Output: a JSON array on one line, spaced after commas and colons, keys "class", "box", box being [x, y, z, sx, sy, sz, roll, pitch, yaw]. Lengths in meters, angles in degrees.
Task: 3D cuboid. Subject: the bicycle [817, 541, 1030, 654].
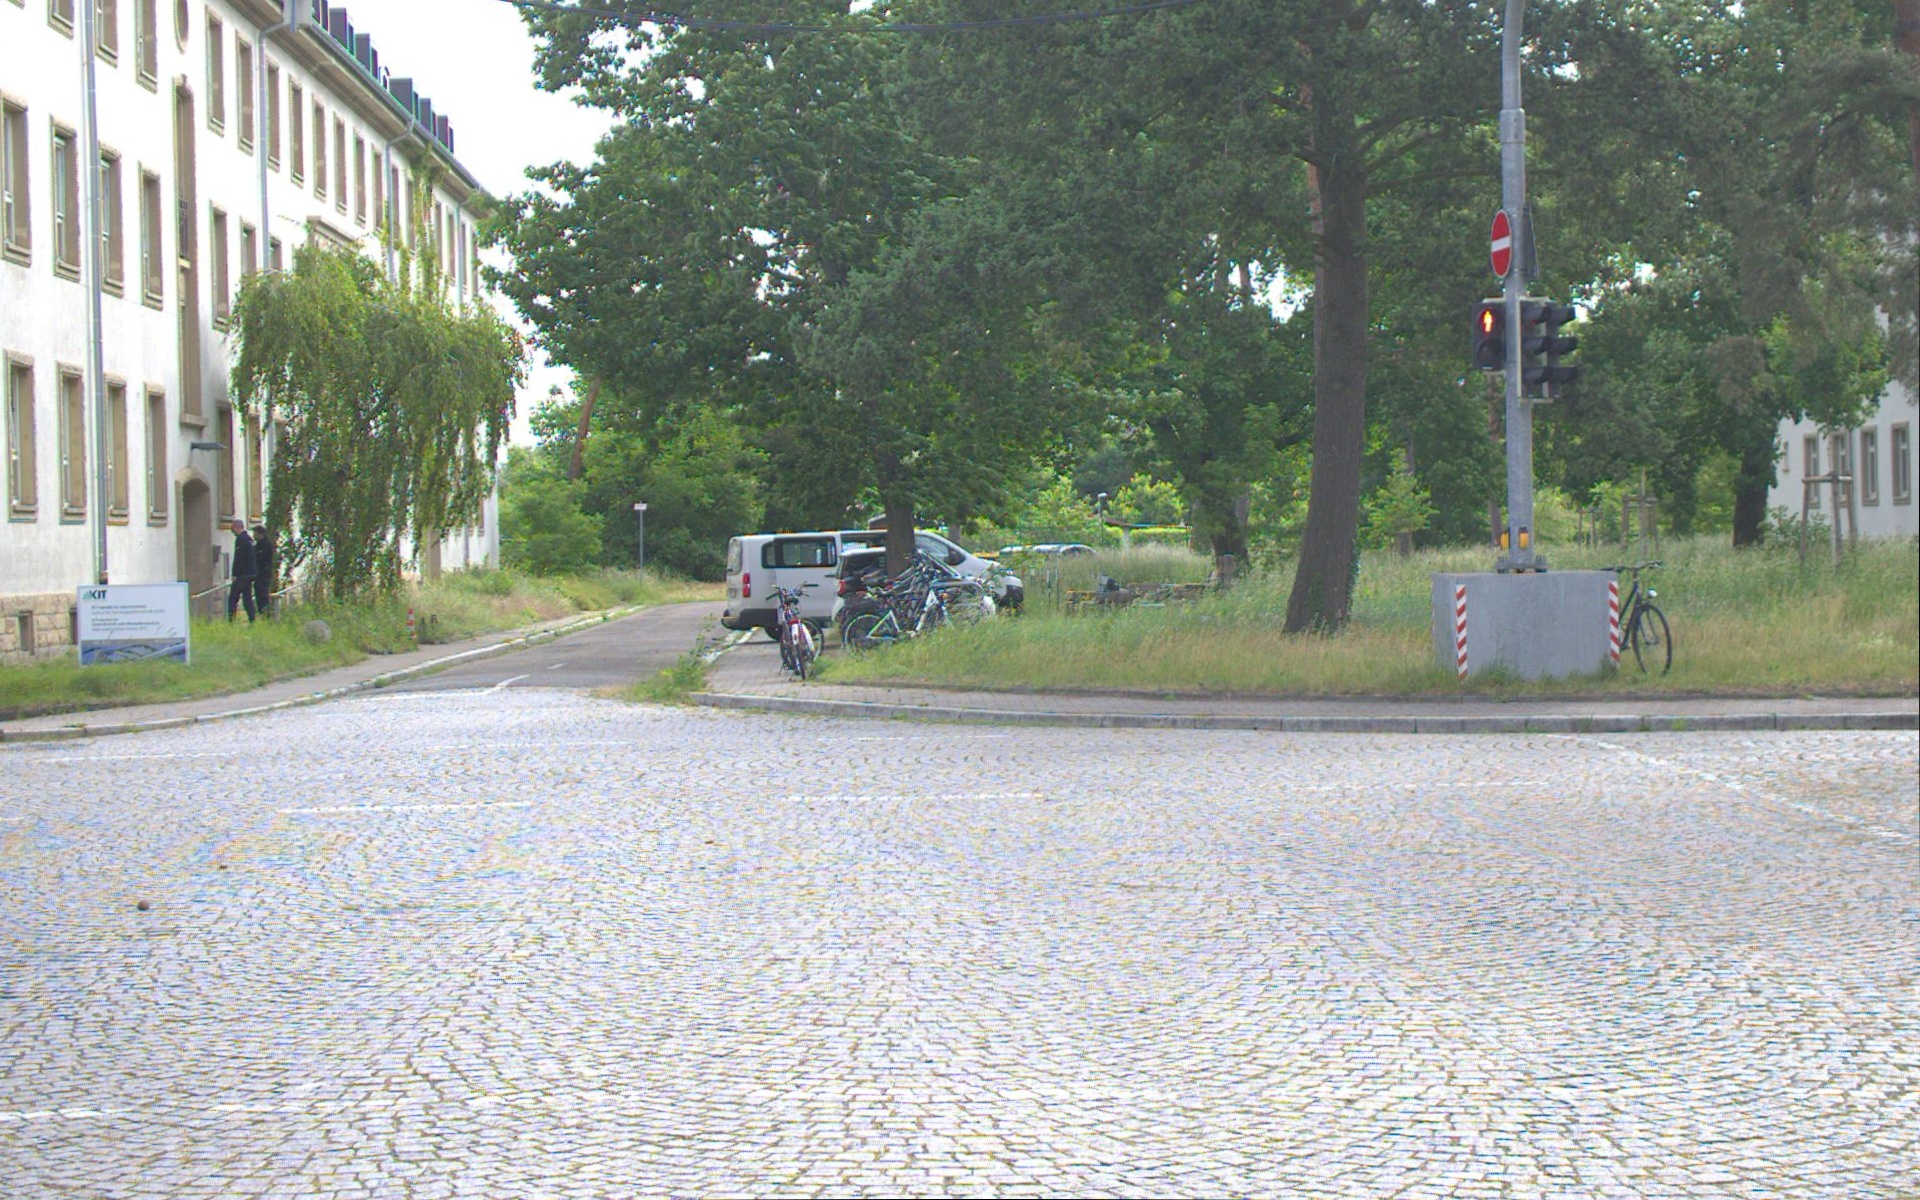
[{"class": "bicycle", "box": [-0.466, -0.038, 43.210, 2.619, 1.362, 0.874, -1, 1, -2]}]

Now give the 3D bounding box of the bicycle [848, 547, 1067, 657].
[{"class": "bicycle", "box": [-0.050, 0.015, 45.022, 2.802, 1.367, 0.951, -1, 1, -2]}]

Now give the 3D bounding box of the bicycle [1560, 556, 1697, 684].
[{"class": "bicycle", "box": [5.946, 0.160, 30.653, 0.644, 1.059, 1.834, -5, 1, -5]}]

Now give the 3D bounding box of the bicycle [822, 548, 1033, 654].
[{"class": "bicycle", "box": [-0.454, 0.006, 46.440, 2.802, 1.367, 0.951, -1, 1, -2]}]

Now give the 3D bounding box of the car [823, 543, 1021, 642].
[{"class": "car", "box": [-0.655, -0.136, 57.204, 3.224, 1.615, 1.938, 0, 0, -3]}]

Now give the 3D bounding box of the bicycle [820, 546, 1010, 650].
[{"class": "bicycle", "box": [-0.634, -0.029, 47.399, 2.567, 1.367, 0.951, -1, 1, -3]}]

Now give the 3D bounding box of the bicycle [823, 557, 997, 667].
[{"class": "bicycle", "box": [-0.633, 0.141, 42.596, 2.113, 1.302, 0.874, -1, 1, -2]}]

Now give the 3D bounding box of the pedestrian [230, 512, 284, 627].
[{"class": "pedestrian", "box": [-11.910, -0.523, 58.238, 0.865, 1.925, 0.837, 1, 0, -13]}]

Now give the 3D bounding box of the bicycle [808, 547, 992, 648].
[{"class": "bicycle", "box": [-0.867, -0.041, 49.072, 2.567, 1.367, 0.951, -1, 1, -3]}]

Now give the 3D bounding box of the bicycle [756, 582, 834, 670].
[{"class": "bicycle", "box": [-1.973, 0.302, 41.278, 0.727, 0.993, 1.978, -1, 1, 3]}]

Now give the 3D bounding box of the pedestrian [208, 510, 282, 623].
[{"class": "pedestrian", "box": [-11.953, -0.564, 57.486, 1.194, 1.863, 1.550, 0, 0, -12]}]

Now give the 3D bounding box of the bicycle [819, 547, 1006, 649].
[{"class": "bicycle", "box": [-0.675, -0.035, 48.238, 2.567, 1.367, 0.951, -1, 1, -3]}]

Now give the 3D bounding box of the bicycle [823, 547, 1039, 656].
[{"class": "bicycle", "box": [-0.395, 0.012, 45.548, 2.802, 1.367, 0.951, -1, 1, -2]}]

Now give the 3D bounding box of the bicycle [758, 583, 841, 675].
[{"class": "bicycle", "box": [-1.828, 0.316, 39.188, 0.900, 0.993, 1.979, -1, 1, -2]}]

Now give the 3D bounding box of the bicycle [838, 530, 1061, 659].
[{"class": "bicycle", "box": [-0.149, -0.073, 44.087, 2.802, 1.578, 0.951, -1, 1, -2]}]

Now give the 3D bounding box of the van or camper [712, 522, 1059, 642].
[{"class": "van or camper", "box": [-1.332, -0.337, 60.695, 5.740, 1.950, 2.238, -1, 1, -14]}]

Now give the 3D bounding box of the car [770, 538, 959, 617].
[{"class": "car", "box": [-2.088, -0.493, 74.514, 3.986, 1.594, 1.704, -1, 1, -4]}]
